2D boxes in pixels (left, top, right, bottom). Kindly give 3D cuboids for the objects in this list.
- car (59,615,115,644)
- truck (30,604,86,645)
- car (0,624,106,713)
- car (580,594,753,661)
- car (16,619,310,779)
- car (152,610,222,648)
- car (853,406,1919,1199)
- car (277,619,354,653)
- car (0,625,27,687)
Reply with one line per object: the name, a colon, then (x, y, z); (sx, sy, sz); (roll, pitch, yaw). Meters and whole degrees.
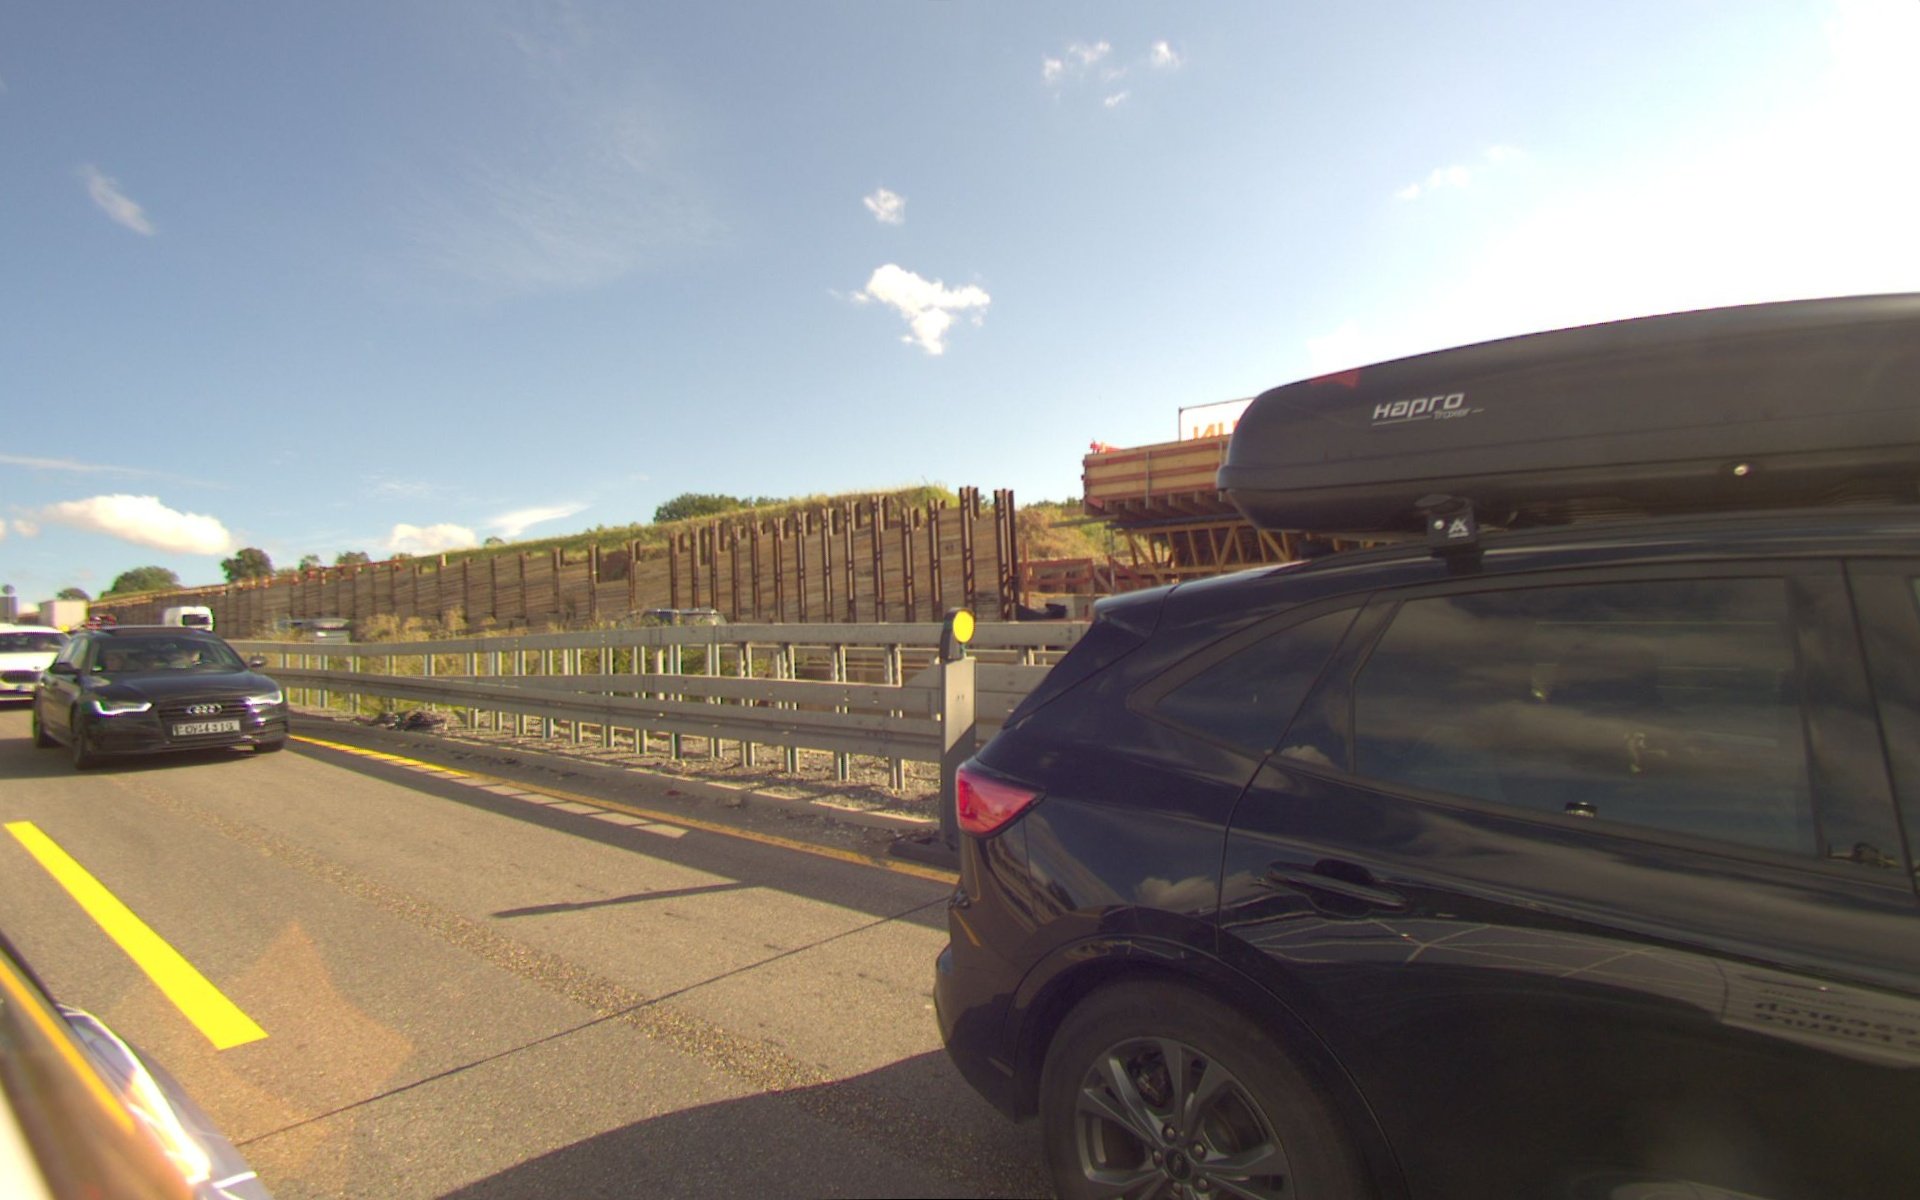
car: (-76.074, 2.533, 88.133); (6.402, 2.360, 2.850); (-1, 0, 41)
truck: (-90.139, 2.380, 101.100); (8.230, 3.894, 3.137); (-1, 0, 41)
car: (-17.698, 1.214, 18.981); (4.406, 1.441, 1.924); (0, 0, 41)
car: (-7.201, 0.615, 24.644); (4.405, 1.441, 1.924); (0, 2, 41)
car: (-9.459, 0.991, 11.870); (4.503, 1.441, 1.924); (0, 0, 41)
car: (-51.951, 1.893, 67.977); (6.402, 2.360, 2.539); (-1, 0, 41)
car: (1.986, 0.516, 1.637); (4.382, 1.554, 1.781); (0, 2, 41)
car: (-31.133, 1.715, 48.859); (4.405, 1.441, 1.924); (0, 2, 41)
car: (-25.862, 1.449, 26.543); (3.998, 1.530, 1.637); (-1, 0, 41)
